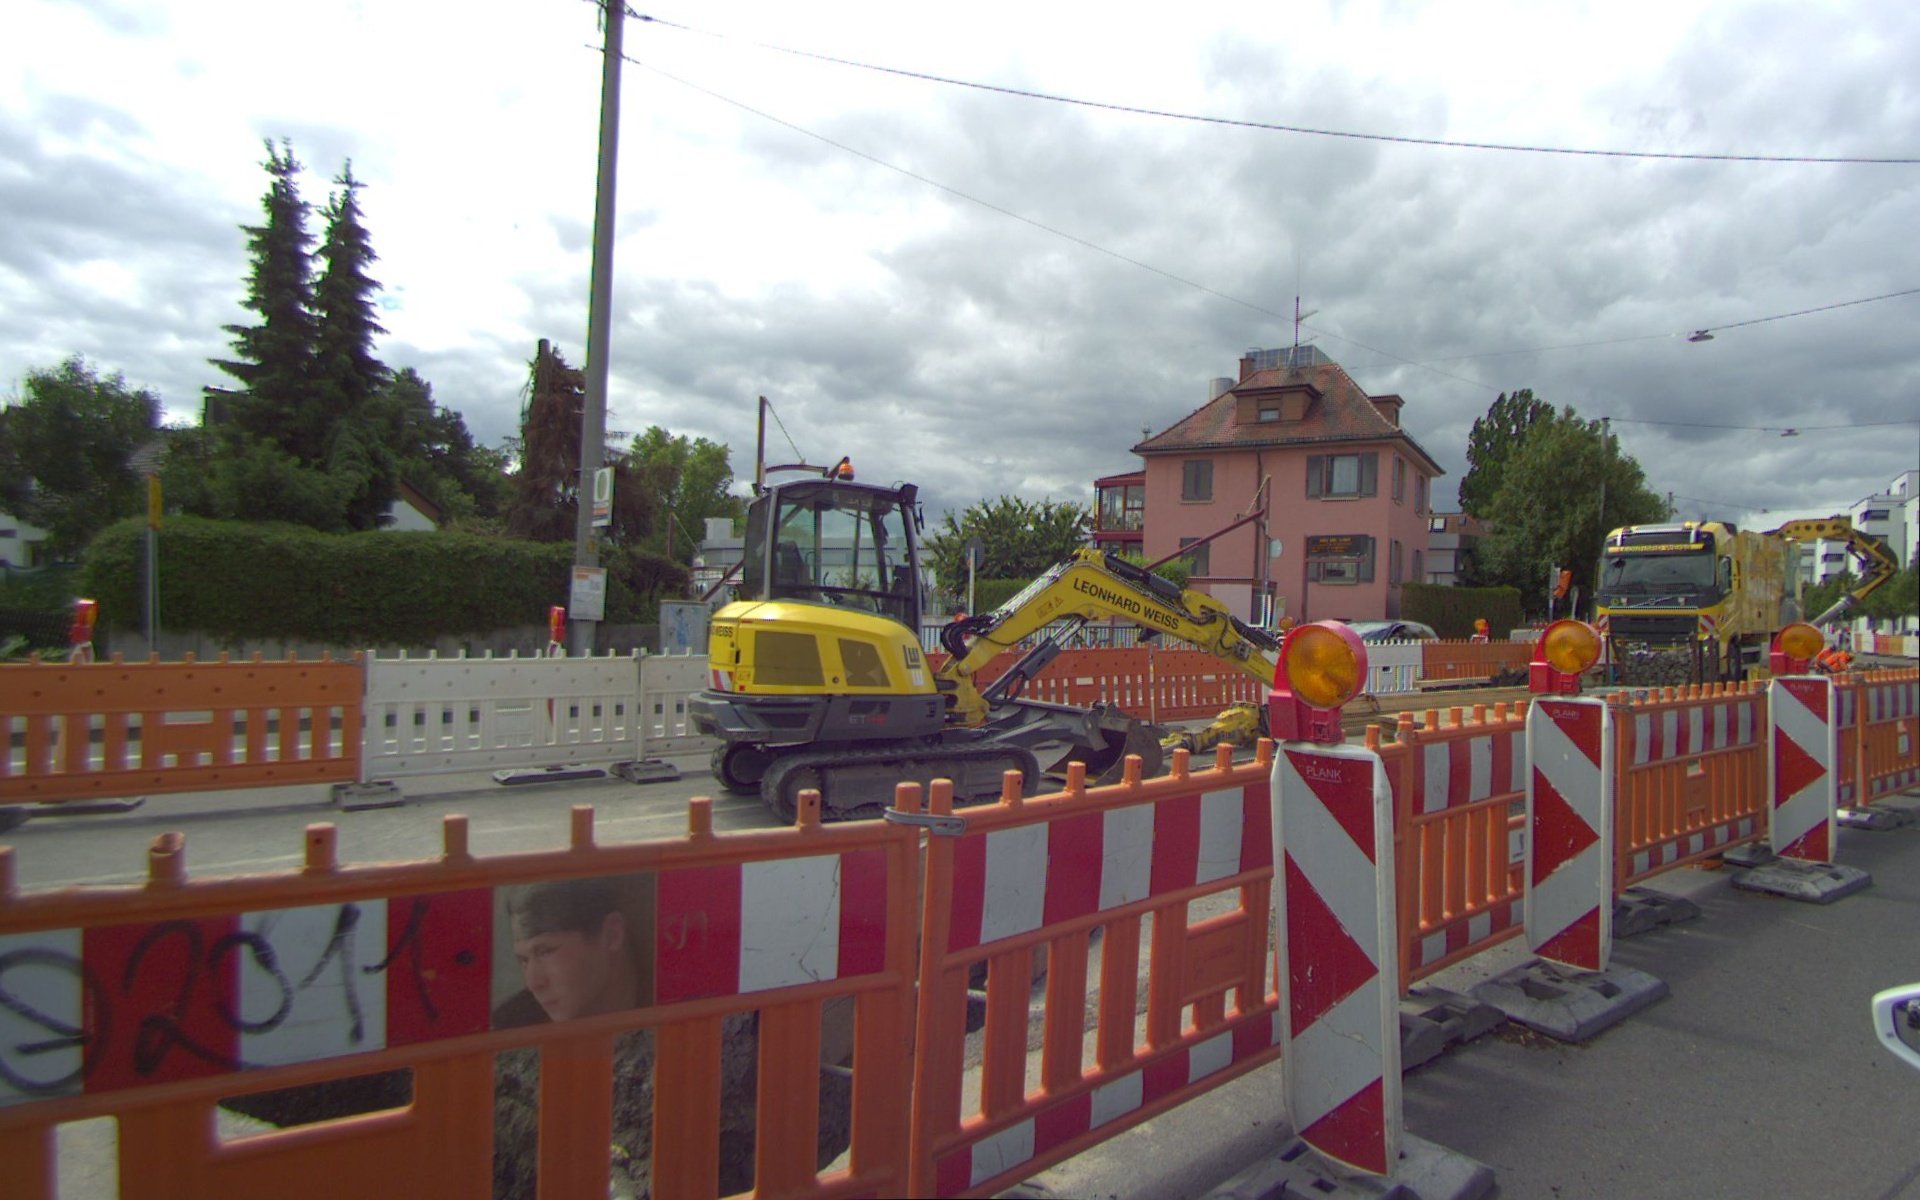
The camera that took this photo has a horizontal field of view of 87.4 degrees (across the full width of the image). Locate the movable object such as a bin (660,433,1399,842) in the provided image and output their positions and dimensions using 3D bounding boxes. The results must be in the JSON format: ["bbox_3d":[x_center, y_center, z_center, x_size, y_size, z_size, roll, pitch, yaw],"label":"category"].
[{"bbox_3d":[0.827,0.290,8.898,6.438,2.660,1.986,1,-1,-27],"label":"movable object such as a bin"}]

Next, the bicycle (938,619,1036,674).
[{"bbox_3d":[0.580,0.952,20.855,2.109,1.097,0.535,1,-1,-34],"label":"bicycle"}]

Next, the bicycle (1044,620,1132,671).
[{"bbox_3d":[2.869,0.990,22.400,2.109,1.097,0.535,1,-1,-34],"label":"bicycle"}]

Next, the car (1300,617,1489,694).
[{"bbox_3d":[9.764,1.173,22.460,4.395,1.533,1.843,1,-1,-35],"label":"car"}]

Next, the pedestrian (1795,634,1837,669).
[{"bbox_3d":[25.234,1.501,29.610,0.780,1.004,0.640,1,0,-17],"label":"pedestrian"}]

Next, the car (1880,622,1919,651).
[{"bbox_3d":[53.761,2.055,56.753,1.818,1.533,3.991,3,1,31],"label":"car"}]

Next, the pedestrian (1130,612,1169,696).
[{"bbox_3d":[4.408,1.228,23.323,0.579,1.911,0.674,1,0,-36],"label":"pedestrian"}]

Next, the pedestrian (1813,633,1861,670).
[{"bbox_3d":[25.038,1.463,28.686,0.801,1.004,0.788,1,0,-27],"label":"pedestrian"}]

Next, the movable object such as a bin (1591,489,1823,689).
[{"bbox_3d":[19.672,-0.157,26.047,11.033,4.277,2.568,1,-1,-41],"label":"movable object such as a bin"}]
